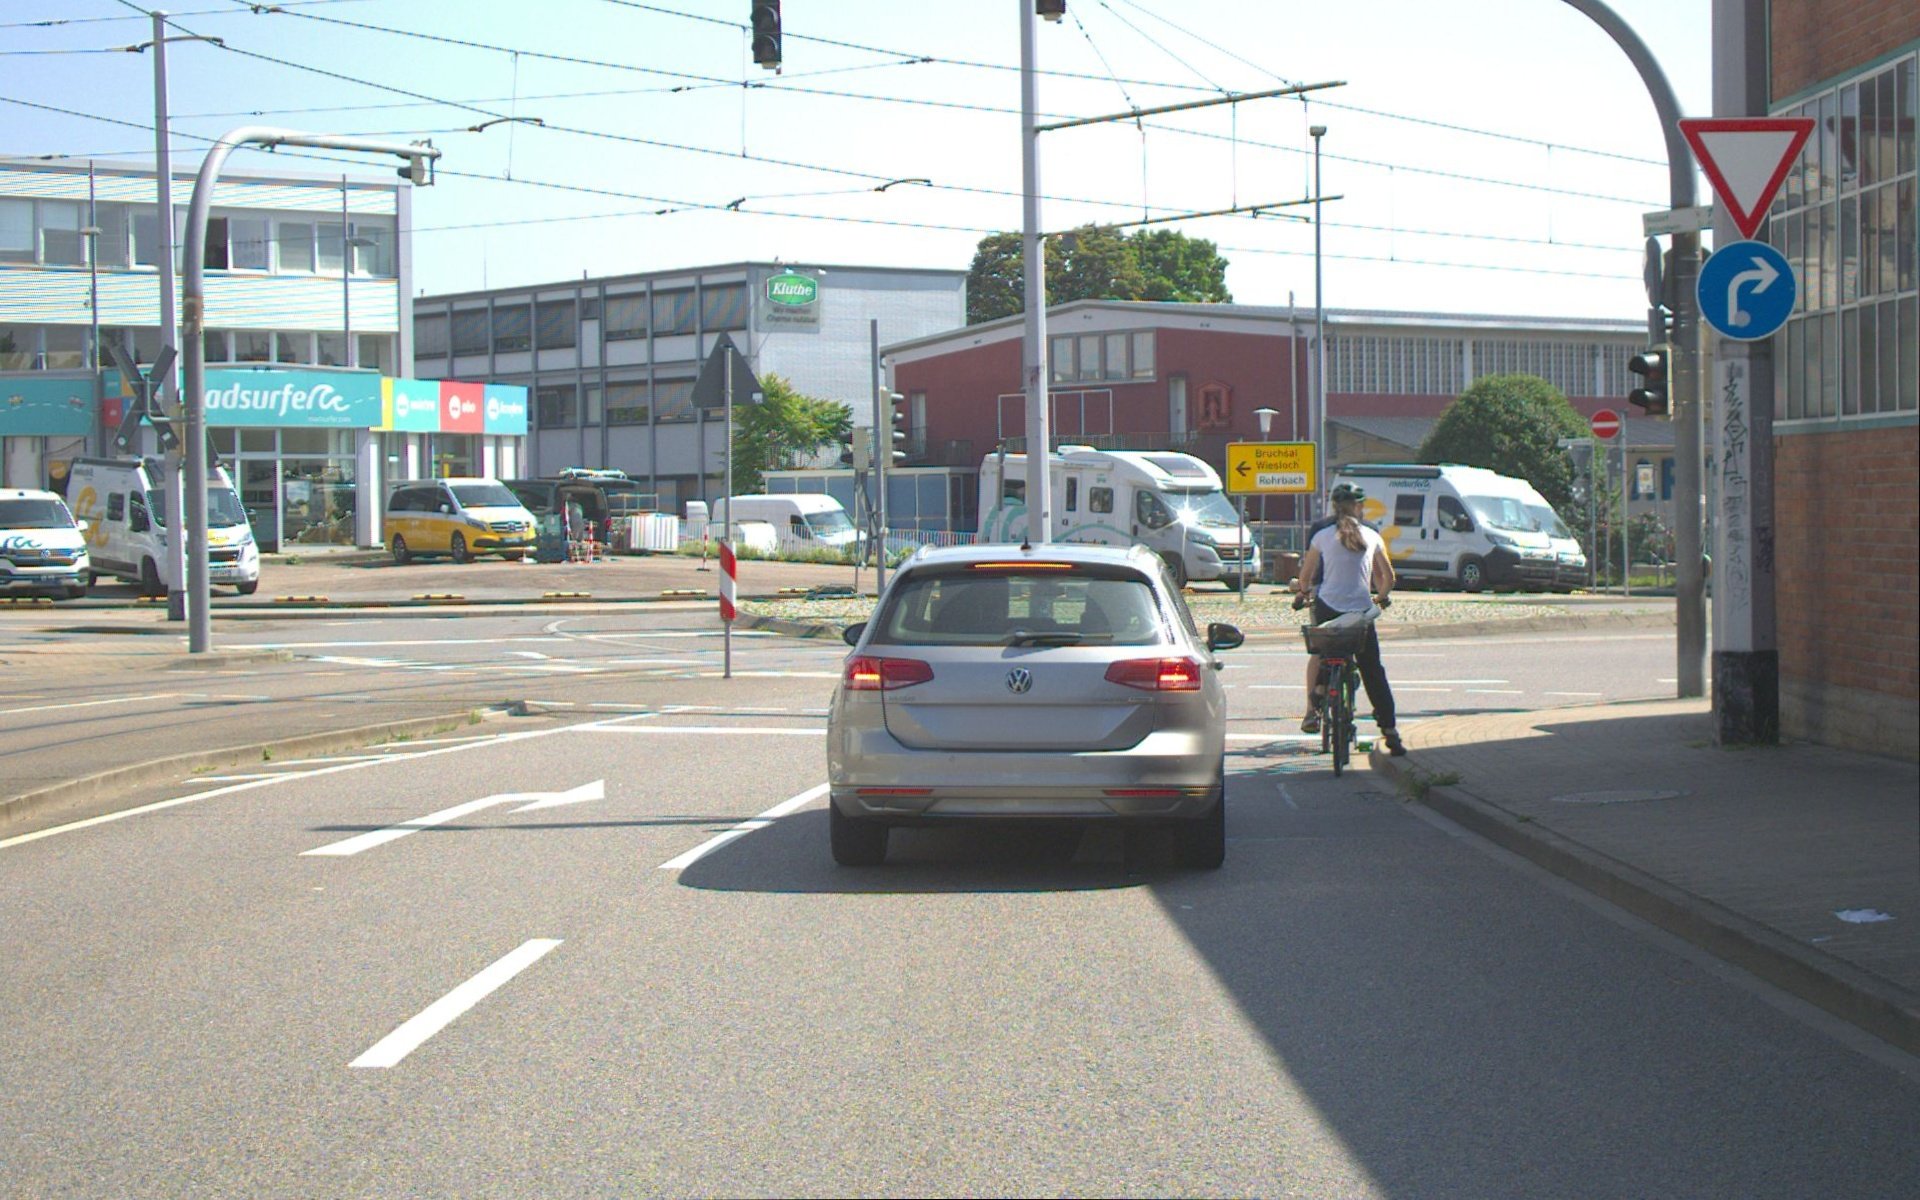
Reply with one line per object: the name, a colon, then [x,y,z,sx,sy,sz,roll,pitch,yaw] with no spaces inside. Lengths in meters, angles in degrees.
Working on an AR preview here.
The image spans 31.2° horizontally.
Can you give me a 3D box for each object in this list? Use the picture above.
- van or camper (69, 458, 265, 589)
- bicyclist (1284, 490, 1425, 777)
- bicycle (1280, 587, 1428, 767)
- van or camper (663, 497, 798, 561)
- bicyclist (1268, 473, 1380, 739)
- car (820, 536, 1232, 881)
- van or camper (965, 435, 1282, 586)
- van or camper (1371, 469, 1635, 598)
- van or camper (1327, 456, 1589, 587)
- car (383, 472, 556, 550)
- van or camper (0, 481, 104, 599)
van or camper: [-15.344,-1.523,66.273,2.031,2.288,5.813,-2,4,-30]
bicyclist: [2.407,0.188,21.091,0.786,1.716,1.147,0,1,3]
bicycle: [2.424,0.448,21.357,0.794,1.018,2.150,0,1,3]
van or camper: [-7.119,-2.209,106.408,3.997,1.941,1.995,1,2,44]
bicyclist: [2.515,0.029,23.828,0.708,1.804,0.983,0,1,2]
car: [0.367,0.428,16.674,1.746,1.454,4.000,0,1,3]
van or camper: [3.324,-1.940,71.624,2.347,2.920,6.983,-3,5,-42]
van or camper: [12.032,-1.540,76.562,2.282,2.602,5.892,-3,4,-36]
van or camper: [10.412,-1.704,72.349,2.283,2.431,5.386,-3,6,-36]
car: [-11.451,-2.059,79.988,1.938,1.753,5.122,-1,1,-34]
van or camper: [-17.898,-1.177,64.981,1.993,2.006,5.011,-2,4,-30]
